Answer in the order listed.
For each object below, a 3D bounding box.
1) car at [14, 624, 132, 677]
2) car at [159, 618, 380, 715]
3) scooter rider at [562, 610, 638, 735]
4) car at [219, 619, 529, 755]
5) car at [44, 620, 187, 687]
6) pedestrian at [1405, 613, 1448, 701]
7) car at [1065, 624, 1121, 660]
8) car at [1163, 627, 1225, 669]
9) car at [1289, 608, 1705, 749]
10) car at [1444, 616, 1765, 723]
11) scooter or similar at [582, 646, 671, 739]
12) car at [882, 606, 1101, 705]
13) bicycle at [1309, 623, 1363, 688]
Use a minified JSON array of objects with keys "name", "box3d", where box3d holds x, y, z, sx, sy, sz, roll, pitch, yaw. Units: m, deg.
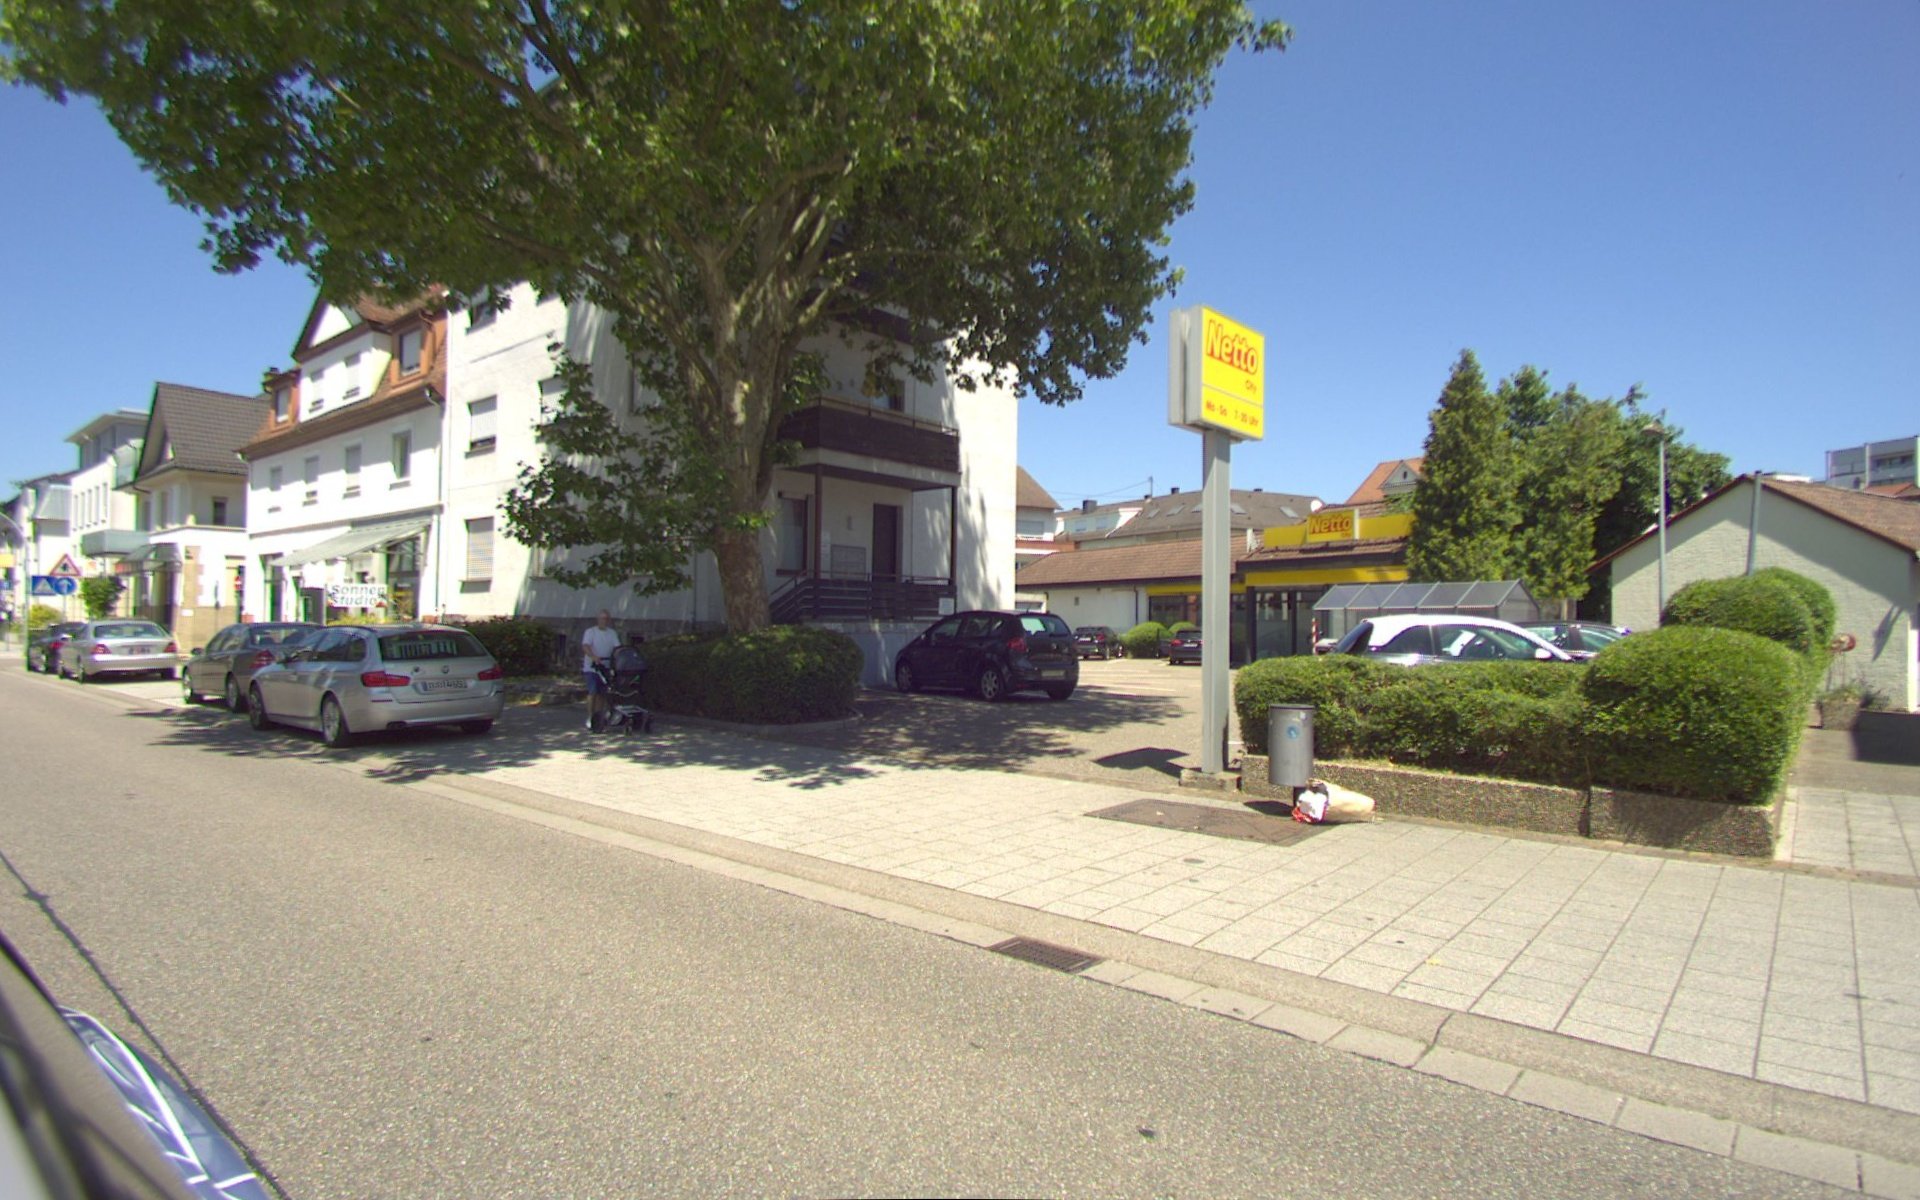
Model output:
[{"name":"car","box3d":[-25.660,1.399,29.219,5.096,1.384,1.922,-1,-2,42]},{"name":"car","box3d":[-12.141,1.059,17.671,4.864,1.463,1.961,-1,-1,40]},{"name":"scooter rider","box3d":[-4.815,0.944,13.536,0.877,1.587,0.582,-2,0,42]},{"name":"car","box3d":[-7.954,1.007,13.502,5.146,1.463,1.961,-1,-1,40]},{"name":"car","box3d":[-21.111,1.256,25.208,5.355,1.463,1.960,-1,-1,42]},{"name":"pedestrian","box3d":[8.901,1.072,19.311,0.714,1.639,0.679,-1,-2,27]},{"name":"car","box3d":[5.942,1.851,44.989,1.981,1.509,3.980,0,-2,15]},{"name":"car","box3d":[9.087,1.806,39.118,1.984,1.509,3.975,0,-2,18]},{"name":"car","box3d":[6.134,0.865,12.068,3.952,1.498,1.891,0,-2,11]},{"name":"car","box3d":[9.652,1.009,15.564,3.906,1.474,1.737,0,-3,24]},{"name":"scooter or similar","box3d":[-4.310,1.167,13.076,1.028,1.106,0.656,-2,0,42]},{"name":"car","box3d":[0.443,0.944,18.221,1.782,1.557,4.115,2,-2,-36]},{"name":"bicycle","box3d":[9.552,1.383,25.694,1.625,1.570,0.587,-1,0,-42]}]
